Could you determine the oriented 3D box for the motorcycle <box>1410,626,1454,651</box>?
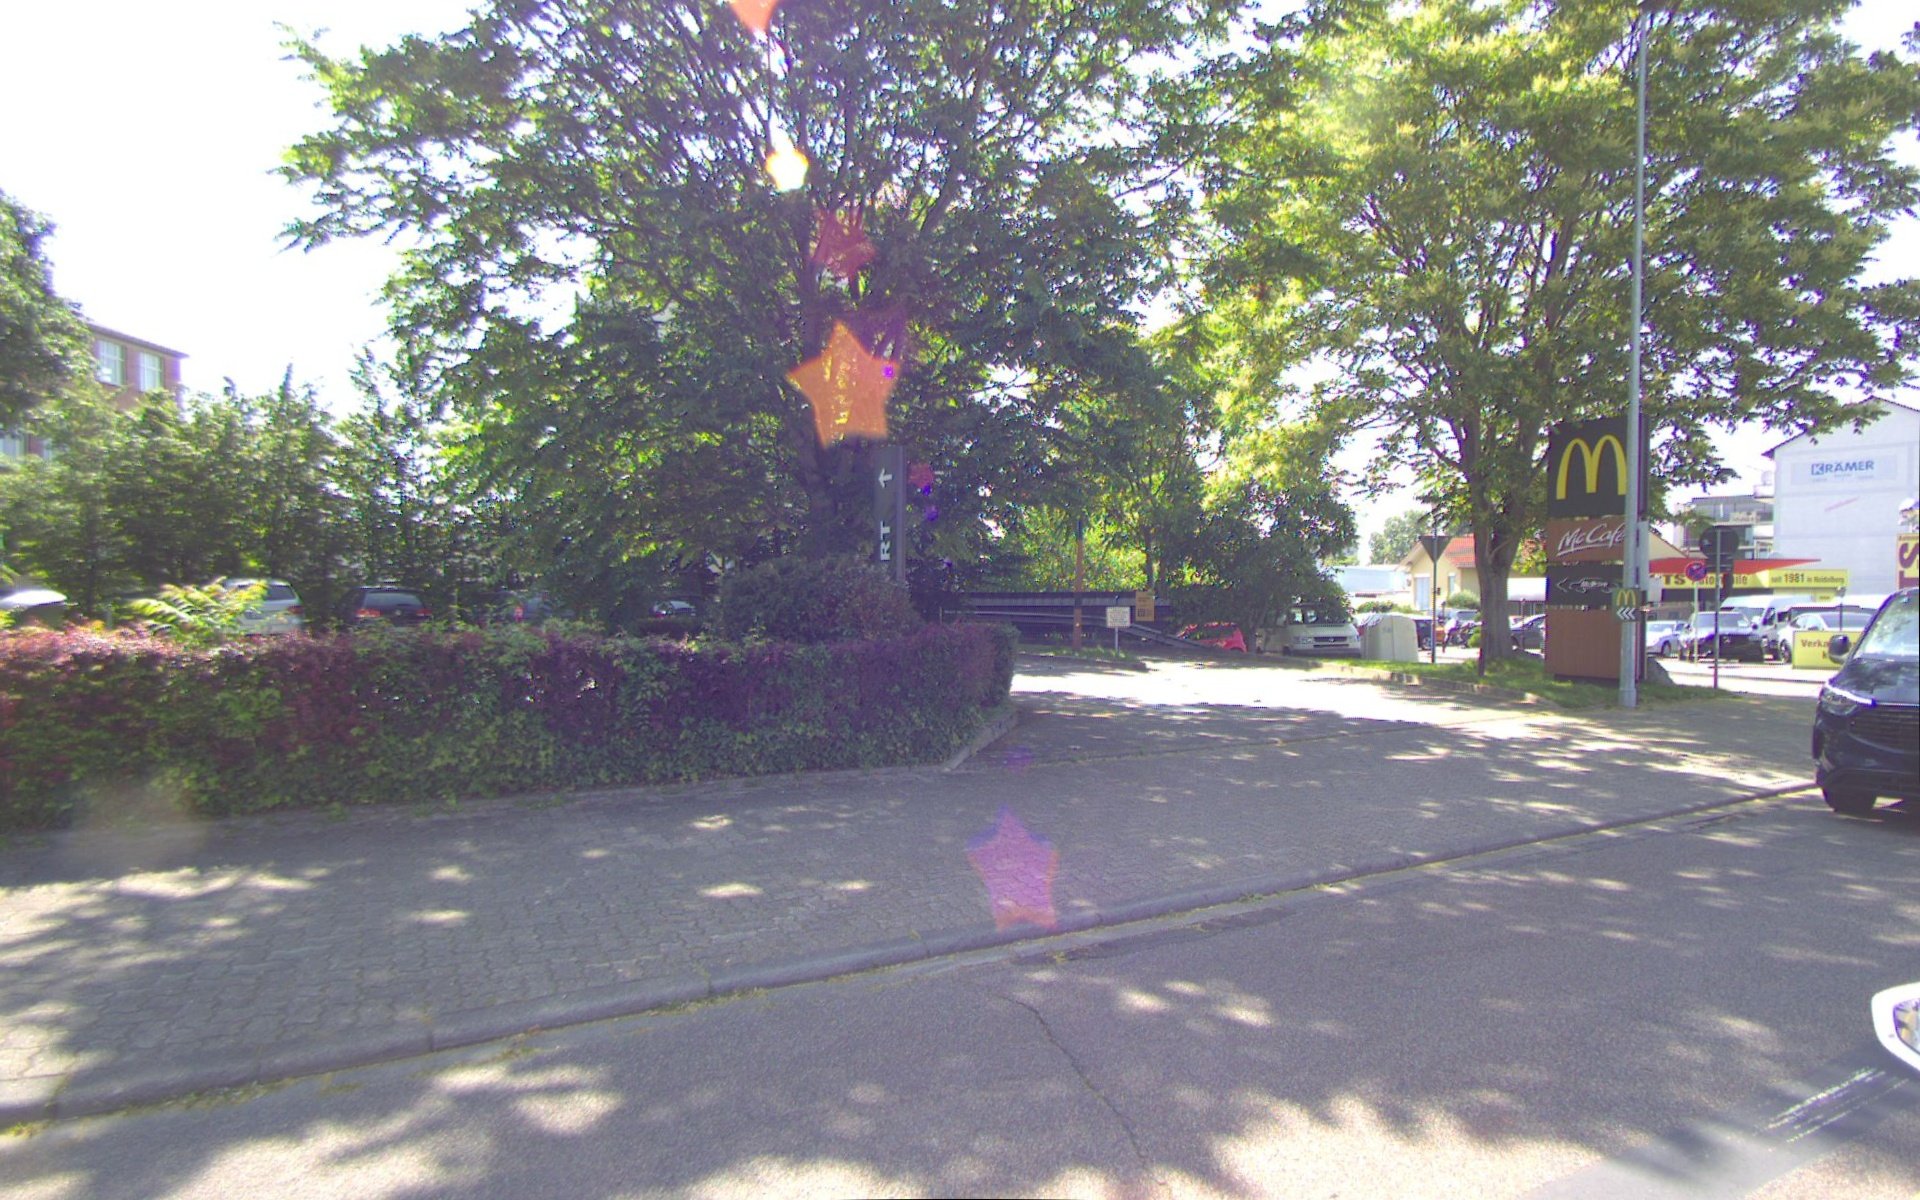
[{"bbox_3d":[23.614,1.903,50.259,1.837,1.174,0.790,2,0,6],"label":"motorcycle"}]

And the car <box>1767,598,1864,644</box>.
[{"bbox_3d":[35.387,0.860,41.512,4.674,1.761,1.865,1,1,-35],"label":"car"}]

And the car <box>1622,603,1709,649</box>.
[{"bbox_3d":[33.534,1.239,47.736,4.451,2.040,1.980,2,0,-35],"label":"car"}]

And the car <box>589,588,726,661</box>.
[{"bbox_3d":[-7.286,0.506,23.997,1.649,1.490,3.855,-1,3,-42],"label":"car"}]

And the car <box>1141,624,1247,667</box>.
[{"bbox_3d":[8.205,1.569,35.325,3.350,1.397,1.485,0,2,-5],"label":"car"}]

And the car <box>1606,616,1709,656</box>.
[{"bbox_3d":[28.324,1.471,40.761,3.949,1.507,1.781,2,0,-27],"label":"car"}]

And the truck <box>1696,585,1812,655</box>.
[{"bbox_3d":[35.871,0.879,45.345,5.879,2.943,2.256,1,1,-33],"label":"truck"}]

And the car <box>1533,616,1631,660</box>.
[{"bbox_3d":[23.427,1.408,37.779,3.962,1.530,1.775,2,0,-37],"label":"car"}]

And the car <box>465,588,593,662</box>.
[{"bbox_3d":[-10.099,0.504,23.395,1.690,1.473,3.953,-1,2,-40],"label":"car"}]

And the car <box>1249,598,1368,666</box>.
[{"bbox_3d":[9.508,0.792,27.871,1.918,1.604,5.033,2,1,5],"label":"car"}]

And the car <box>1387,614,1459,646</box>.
[{"bbox_3d":[26.012,1.660,56.584,1.962,1.606,3.997,2,0,-4],"label":"car"}]

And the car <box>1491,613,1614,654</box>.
[{"bbox_3d":[25.934,1.452,44.122,4.248,1.606,2.000,2,0,17],"label":"car"}]

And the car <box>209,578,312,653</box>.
[{"bbox_3d":[-16.966,0.309,24.282,1.759,1.593,3.954,0,2,-39],"label":"car"}]

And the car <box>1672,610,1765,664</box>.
[{"bbox_3d":[25.296,1.204,33.635,2.017,1.616,4.413,2,0,32],"label":"car"}]

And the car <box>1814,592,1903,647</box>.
[{"bbox_3d":[40.262,0.847,44.982,4.667,2.315,2.120,1,0,-37],"label":"car"}]

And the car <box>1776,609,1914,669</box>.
[{"bbox_3d":[28.226,1.185,32.197,1.961,1.748,4.000,2,0,20],"label":"car"}]

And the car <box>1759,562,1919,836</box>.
[{"bbox_3d":[9.302,0.746,8.727,5.387,1.994,2.163,1,-2,-34],"label":"car"}]

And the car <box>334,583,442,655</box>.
[{"bbox_3d":[-14.011,0.389,24.500,1.758,1.490,3.956,-1,3,-38],"label":"car"}]

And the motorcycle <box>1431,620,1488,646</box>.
[{"bbox_3d":[26.176,1.735,52.663,2.673,1.243,0.996,2,0,-14],"label":"motorcycle"}]

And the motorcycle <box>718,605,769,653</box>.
[{"bbox_3d":[-5.448,0.712,25.222,1.583,1.156,0.472,1,1,45],"label":"motorcycle"}]
